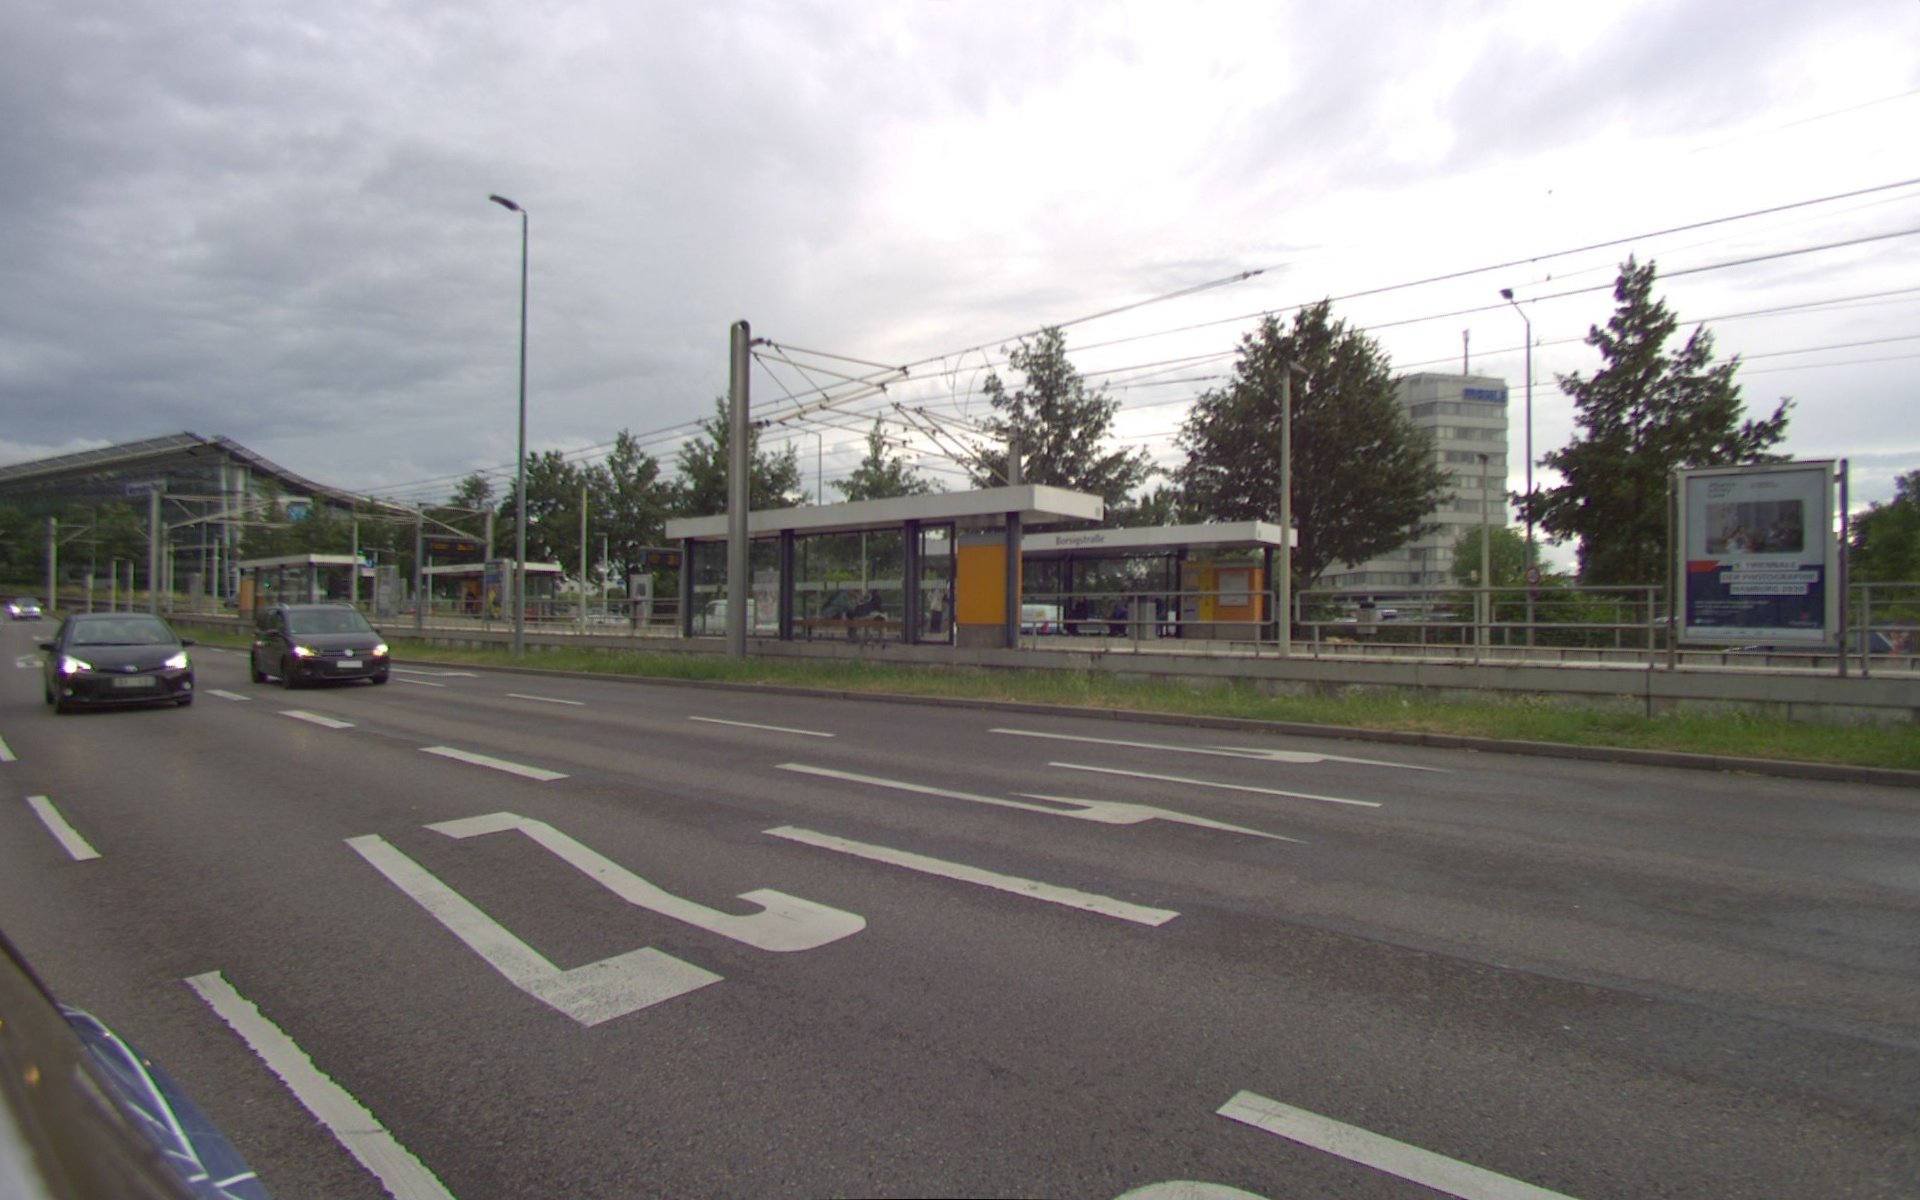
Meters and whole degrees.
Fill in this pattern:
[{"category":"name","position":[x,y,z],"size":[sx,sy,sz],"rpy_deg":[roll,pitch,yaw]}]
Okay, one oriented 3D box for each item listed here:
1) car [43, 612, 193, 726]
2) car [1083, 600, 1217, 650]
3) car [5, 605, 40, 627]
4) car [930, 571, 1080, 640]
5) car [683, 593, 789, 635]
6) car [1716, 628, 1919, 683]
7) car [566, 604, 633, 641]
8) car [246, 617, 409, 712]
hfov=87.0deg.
[{"category":"car","position":[-13.655,1.005,16.329],"size":[1.672,1.534,3.909],"rpy_deg":[-2,1,-42]},{"category":"car","position":[7.227,0.896,38.723],"size":[4.663,1.712,2.083],"rpy_deg":[0,1,41]},{"category":"car","position":[-66.354,1.113,71.624],"size":[1.715,1.489,4.003],"rpy_deg":[-1,0,-44]},{"category":"car","position":[1.485,0.130,35.191],"size":[5.143,2.231,1.972],"rpy_deg":[0,1,42]},{"category":"car","position":[-10.023,0.579,45.112],"size":[5.026,1.744,1.974],"rpy_deg":[0,1,40]},{"category":"car","position":[21.725,1.369,25.763],"size":[3.931,1.139,1.511],"rpy_deg":[0,1,40]},{"category":"car","position":[-20.906,1.266,58.663],"size":[3.998,2.029,1.973],"rpy_deg":[0,1,41]},{"category":"car","position":[-12.929,1.218,20.598],"size":[4.191,1.604,1.708],"rpy_deg":[0,1,42]}]
